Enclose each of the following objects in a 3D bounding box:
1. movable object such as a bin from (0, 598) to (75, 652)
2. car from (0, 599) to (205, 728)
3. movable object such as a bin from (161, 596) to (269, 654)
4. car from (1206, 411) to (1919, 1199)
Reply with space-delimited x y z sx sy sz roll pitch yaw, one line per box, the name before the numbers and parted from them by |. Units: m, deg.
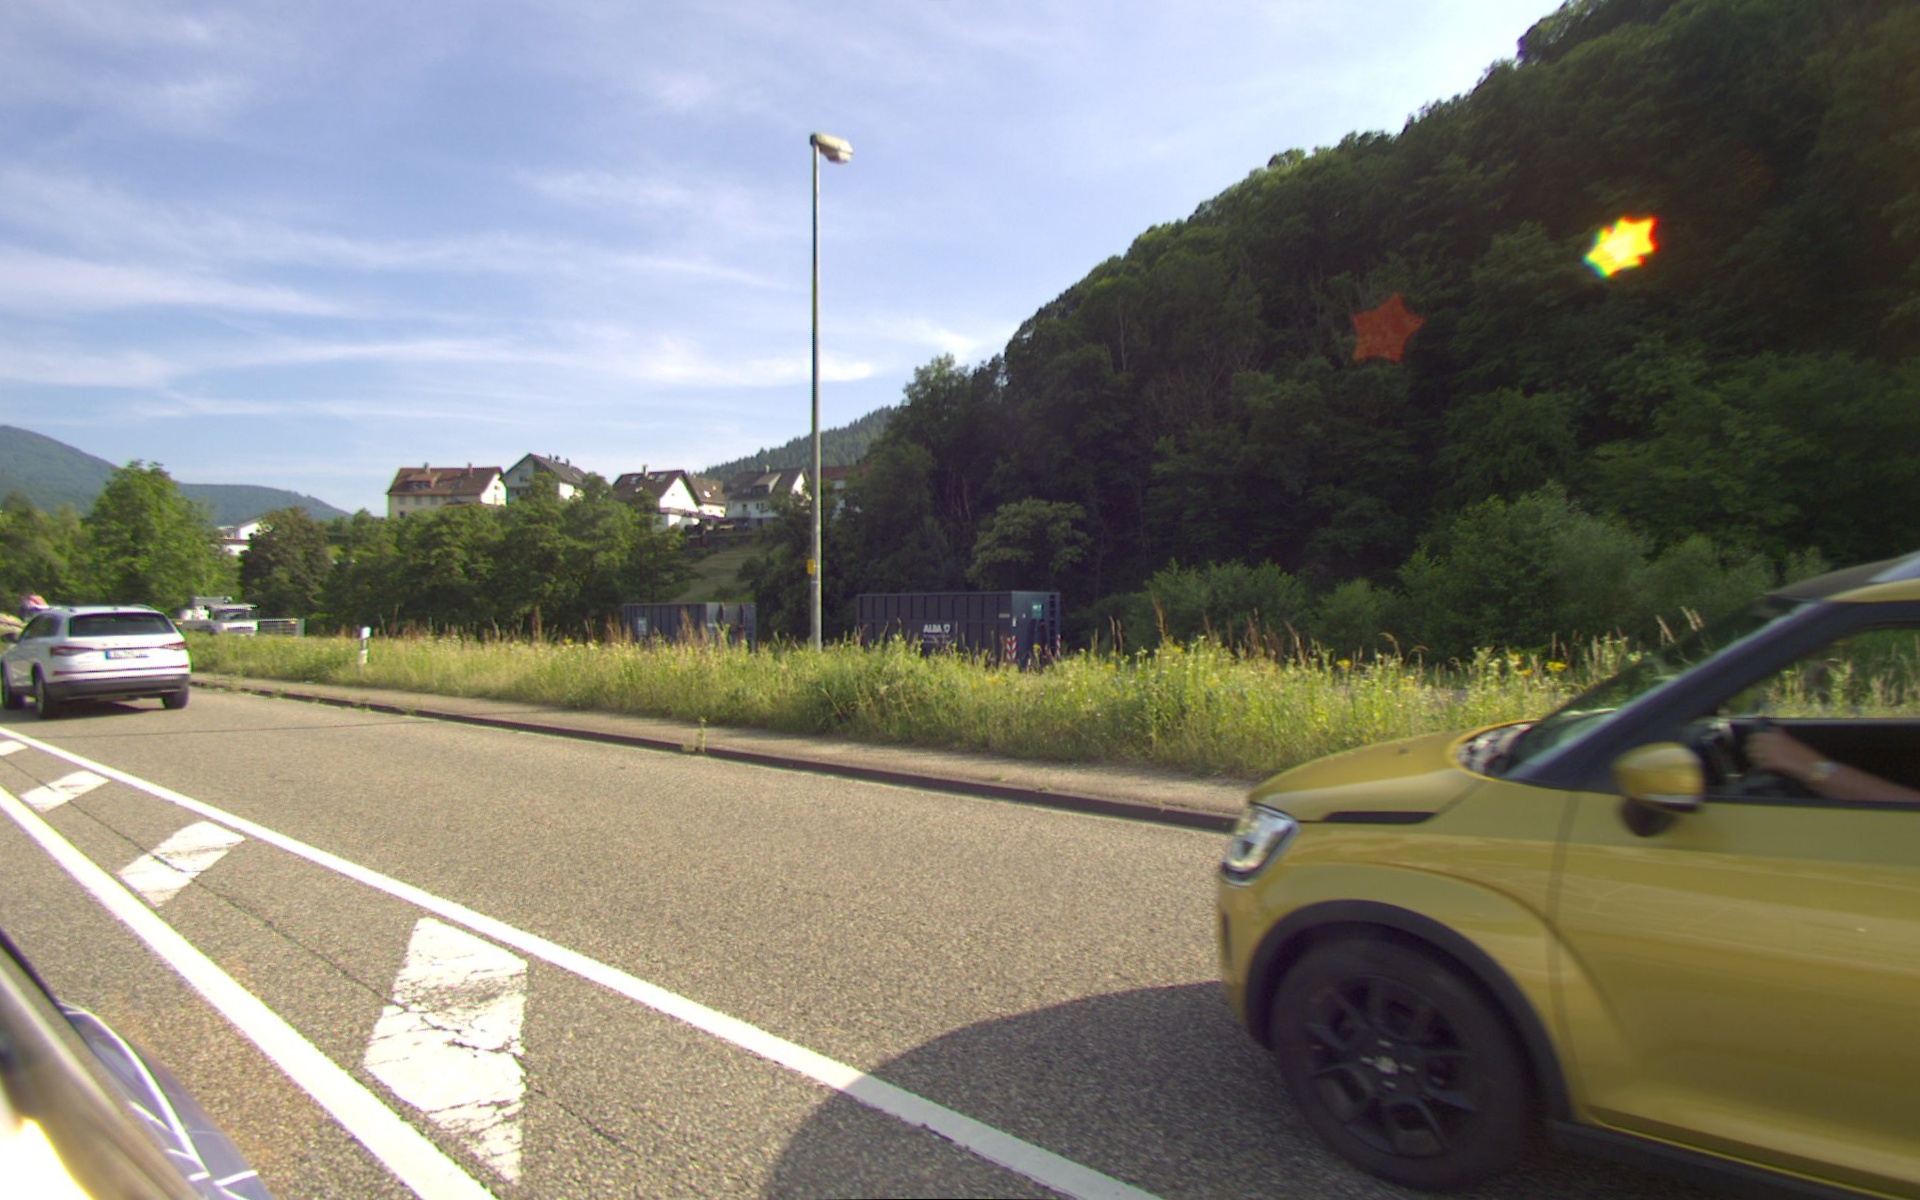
movable object such as a bin | -72.130 1.950 78.337 7.192 3.977 2.706 0 -3 27
car | -14.044 0.915 16.341 4.465 1.772 1.974 -1 0 40
movable object such as a bin | -53.787 1.820 73.063 7.768 3.977 2.881 0 -3 27
car | 2.639 0.469 2.039 3.795 1.637 1.705 -2 -1 42
